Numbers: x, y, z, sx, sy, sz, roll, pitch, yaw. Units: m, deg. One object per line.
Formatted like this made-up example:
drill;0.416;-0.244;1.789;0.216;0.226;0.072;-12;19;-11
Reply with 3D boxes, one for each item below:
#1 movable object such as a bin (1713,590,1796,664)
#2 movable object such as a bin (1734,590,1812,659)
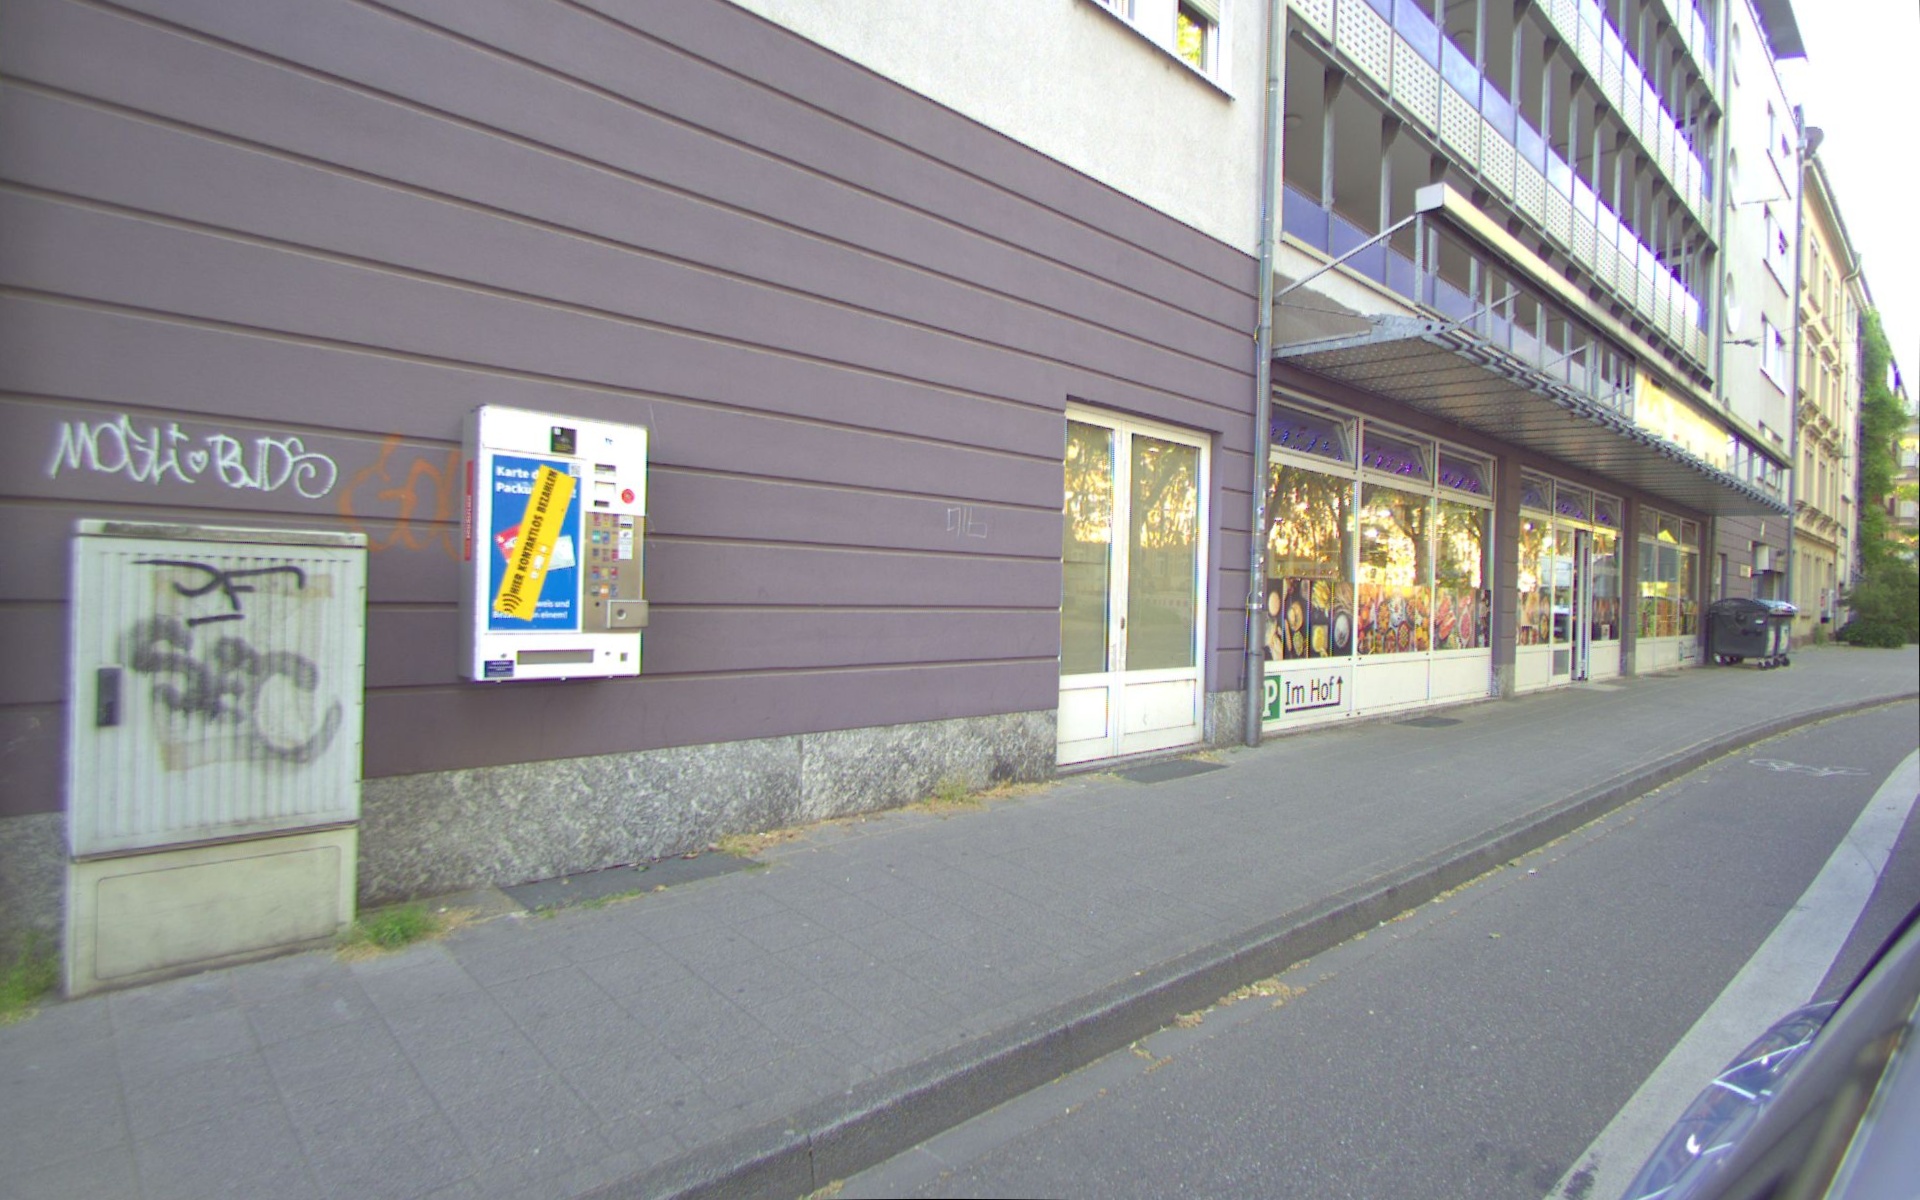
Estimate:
movable object such as a bin;16.316;0.540;20.783;0.923;1.444;1.158;1;1;-40
movable object such as a bin;17.782;0.511;22.150;0.923;1.444;1.158;1;1;-40
